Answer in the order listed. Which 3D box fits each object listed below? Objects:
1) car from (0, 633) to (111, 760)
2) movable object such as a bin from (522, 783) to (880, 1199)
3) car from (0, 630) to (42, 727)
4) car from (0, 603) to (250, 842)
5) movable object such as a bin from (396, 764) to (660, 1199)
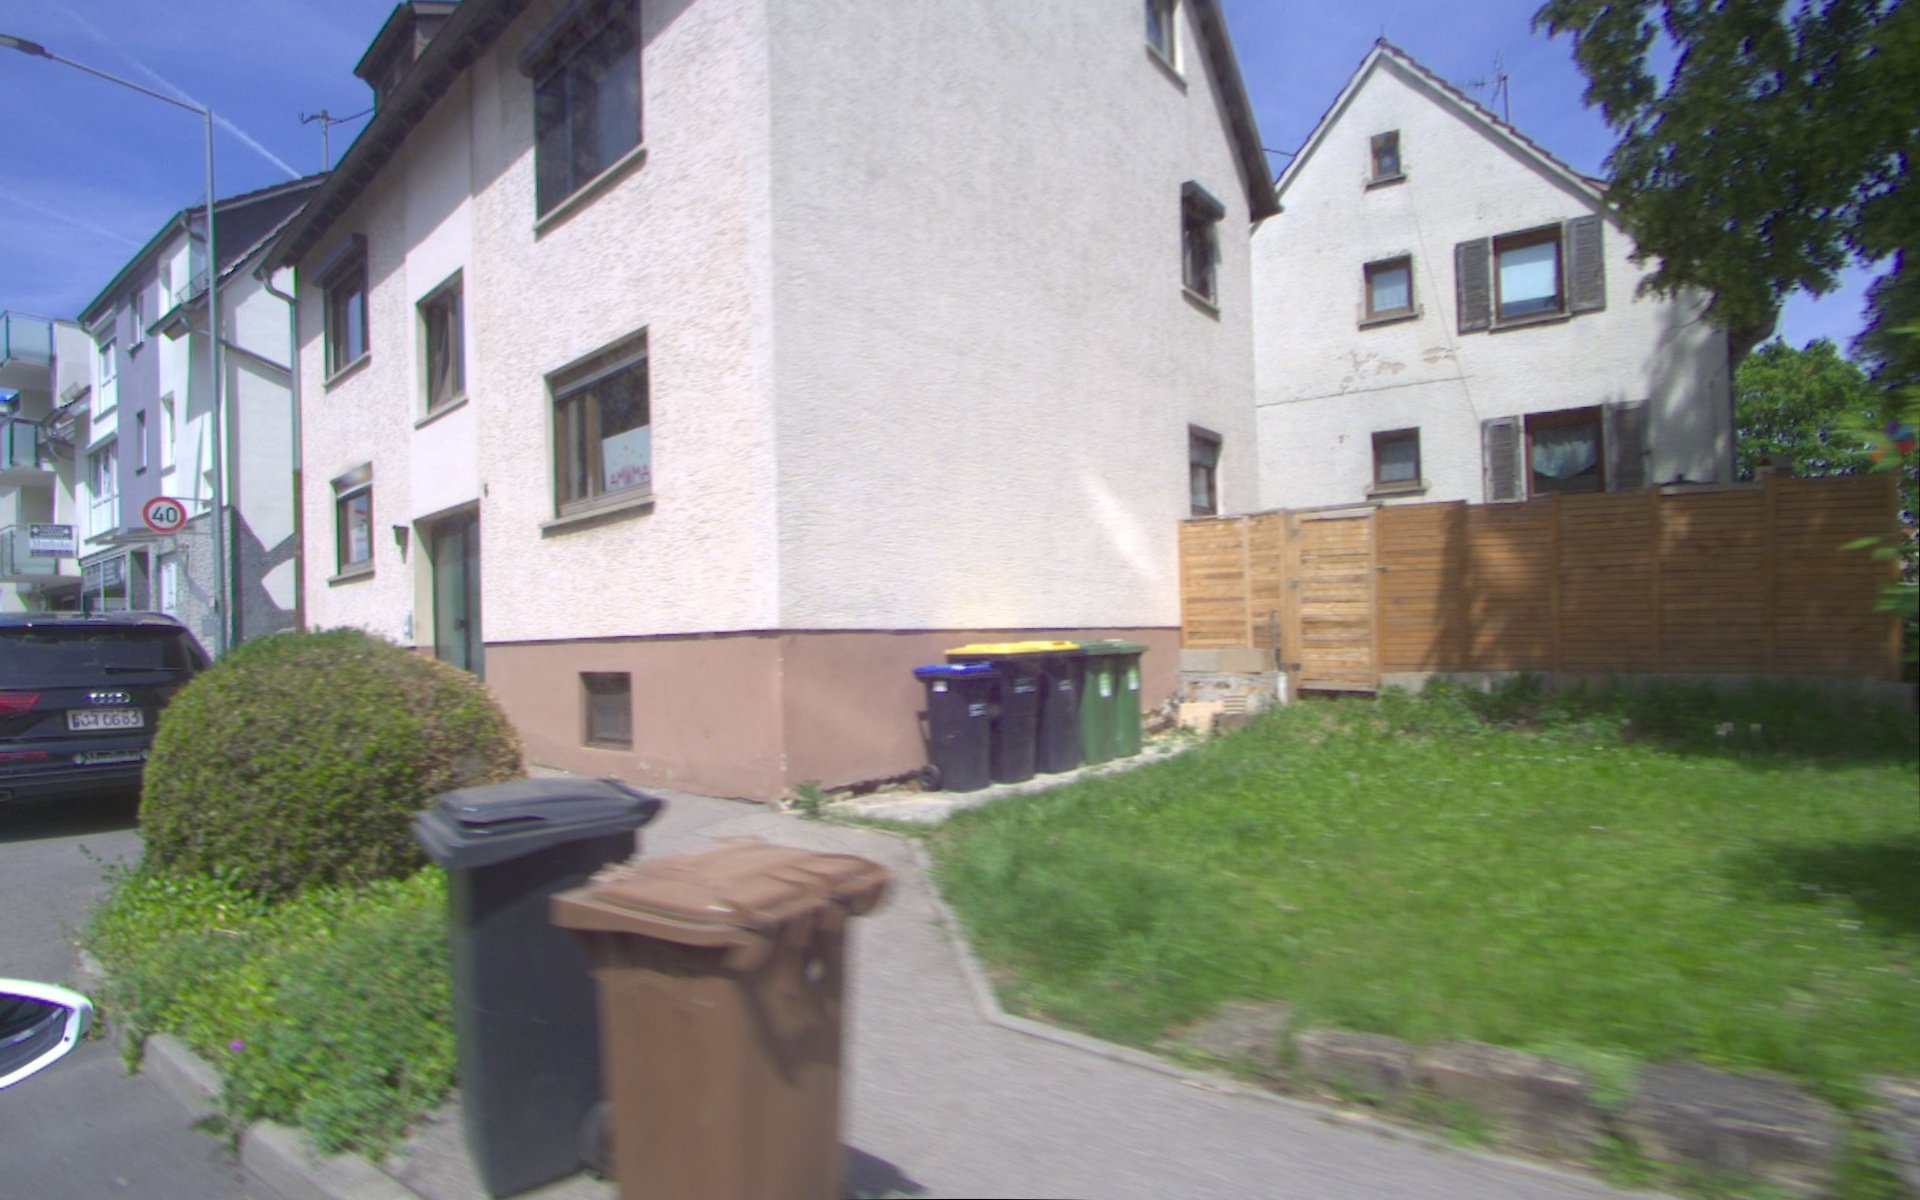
[{"bbox_3d":[-12.778,1.186,13.185,4.307,1.439,1.781,-1,-1,40],"label":"car"},{"bbox_3d":[-0.509,0.926,2.027,0.496,1.006,0.499,-1,-1,31],"label":"movable object such as a bin"},{"bbox_3d":[-16.828,1.249,16.476,4.657,1.474,1.782,-1,-1,38],"label":"car"},{"bbox_3d":[-8.192,0.950,9.029,4.601,1.691,1.836,-2,-3,40],"label":"car"},{"bbox_3d":[-1.124,0.975,2.593,0.520,1.006,0.498,1,-1,-36],"label":"movable object such as a bin"}]
